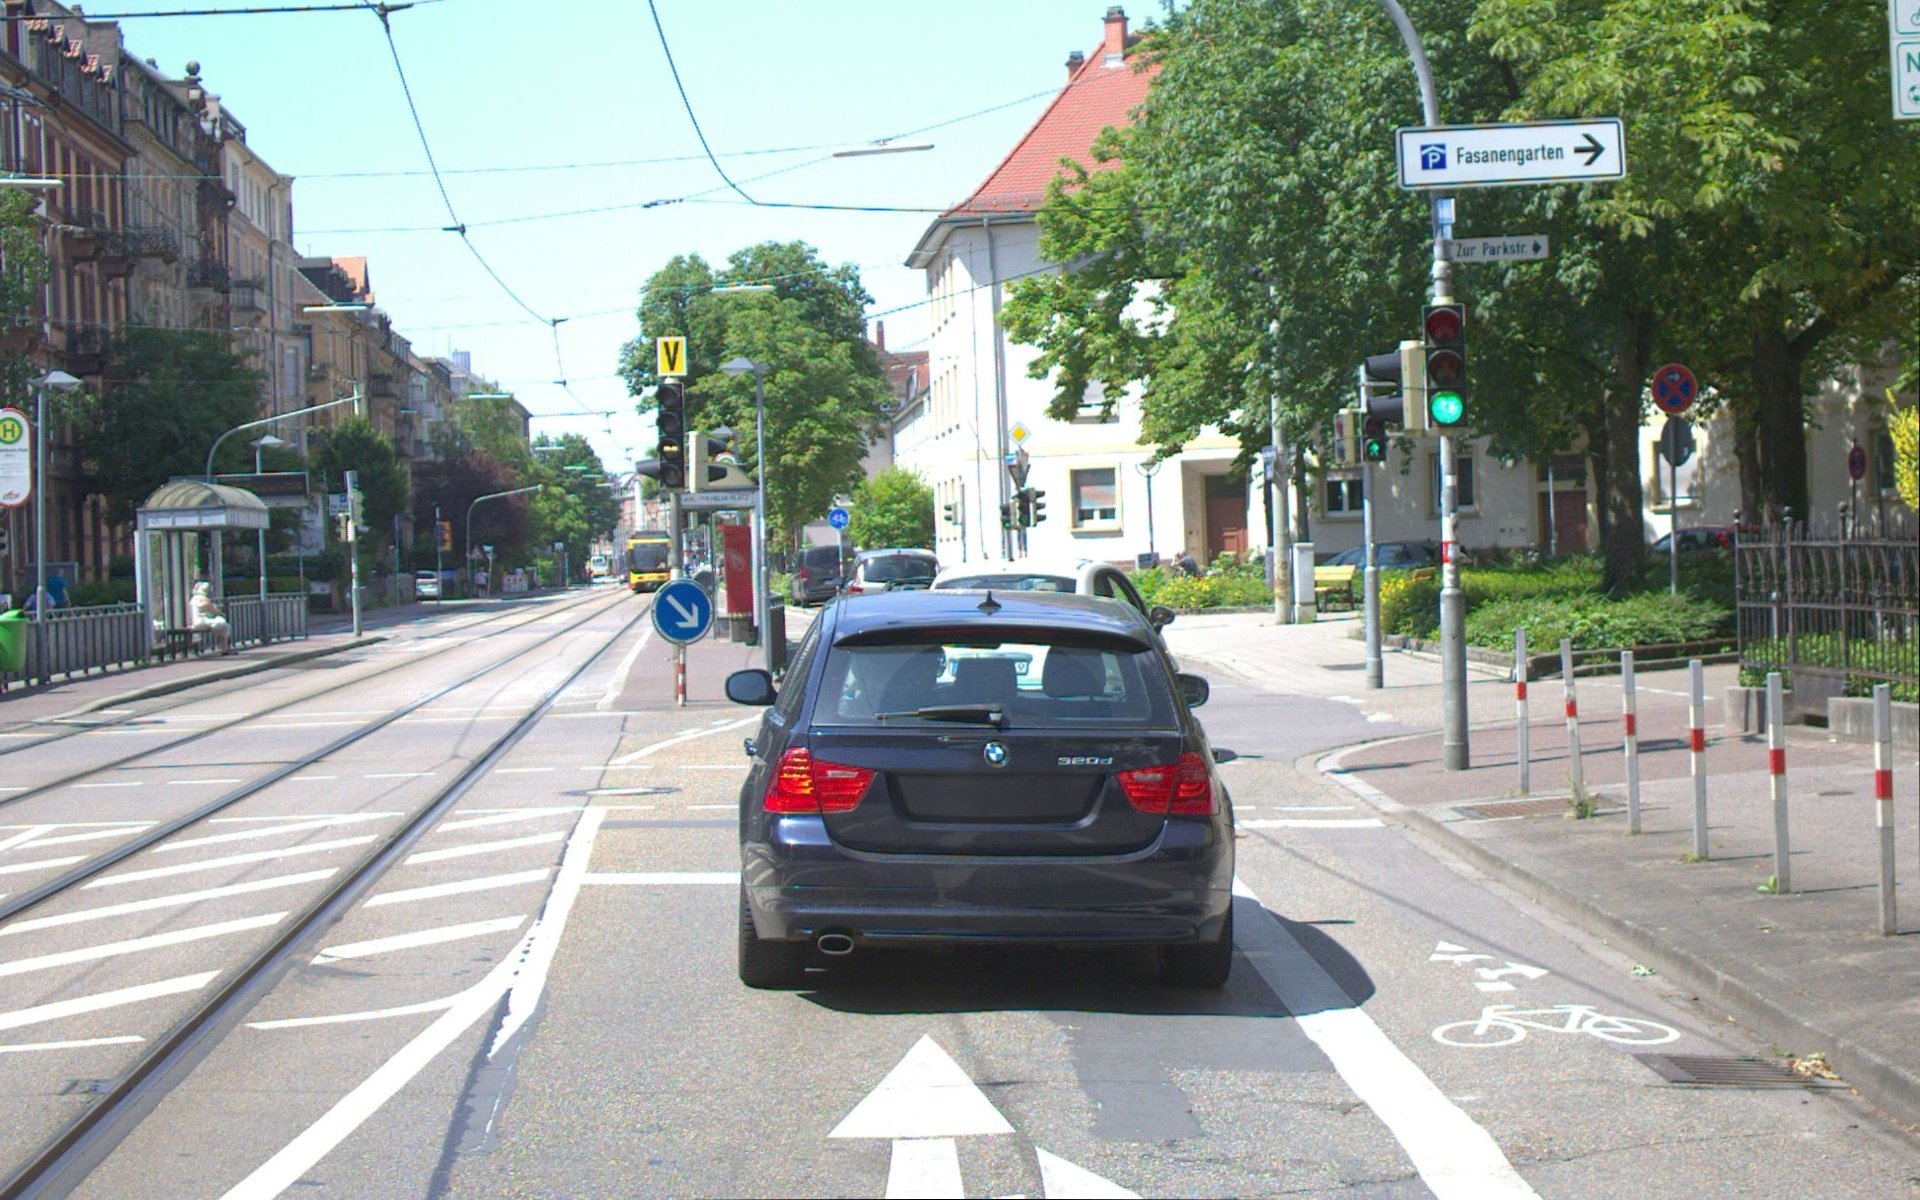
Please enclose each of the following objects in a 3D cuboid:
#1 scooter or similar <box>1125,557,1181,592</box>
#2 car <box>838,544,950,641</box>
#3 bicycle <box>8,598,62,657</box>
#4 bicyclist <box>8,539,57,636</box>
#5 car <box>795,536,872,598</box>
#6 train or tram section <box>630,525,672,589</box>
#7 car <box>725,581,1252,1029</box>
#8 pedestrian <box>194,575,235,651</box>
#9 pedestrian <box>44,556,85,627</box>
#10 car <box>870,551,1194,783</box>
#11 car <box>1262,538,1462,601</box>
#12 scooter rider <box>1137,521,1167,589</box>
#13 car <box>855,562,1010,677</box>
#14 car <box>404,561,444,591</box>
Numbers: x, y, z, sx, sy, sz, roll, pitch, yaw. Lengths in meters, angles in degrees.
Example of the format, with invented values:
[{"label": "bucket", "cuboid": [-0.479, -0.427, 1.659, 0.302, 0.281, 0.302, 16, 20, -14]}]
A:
[{"label": "scooter or similar", "cuboid": [4.893, -0.641, 87.134, 1.311, 0.834, 0.527, -2, 1, -9]}, {"label": "car", "cuboid": [-1.133, -0.148, 57.381, 1.691, 1.508, 3.822, -2, 1, -3]}, {"label": "bicycle", "cuboid": [-18.108, 0.532, 67.329, 0.728, 1.098, 1.716, -1, 1, -6]}, {"label": "bicyclist", "cuboid": [-18.136, -0.248, 67.246, 0.722, 1.864, 0.825, -2, 1, -4]}, {"label": "car", "cuboid": [-4.012, -1.040, 108.228, 1.993, 1.842, 4.001, -2, 1, -8]}, {"label": "train or tram section", "cuboid": [-17.614, -2.455, 196.191, 2.190, 3.470, 8.847, -2, 1, -5]}, {"label": "car", "cuboid": [0.129, 0.661, 13.564, 1.722, 1.404, 4.565, 0, 1, 1]}, {"label": "pedestrian", "cuboid": [-12.495, 0.211, 57.638, 0.613, 1.238, 0.628, -2, 1, -10]}, {"label": "pedestrian", "cuboid": [-23.121, -0.213, 88.786, 0.640, 1.805, 0.739, -1, 1, 30]}, {"label": "car", "cuboid": [0.598, 0.429, 24.968, 1.686, 1.479, 3.683, -2, 1, 11]}, {"label": "car", "cuboid": [8.772, -0.656, 75.024, 3.994, 1.239, 1.621, -1, 1, 31]}, {"label": "scooter rider", "cuboid": [4.867, -1.138, 87.127, 0.590, 1.681, 0.528, -2, 1, -9]}, {"label": "car", "cuboid": [-0.384, 0.212, 42.919, 1.691, 1.318, 3.822, -2, 1, -3]}, {"label": "car", "cuboid": [-28.310, -1.255, 181.484, 1.787, 1.580, 4.001, -1, 0, -13]}]
